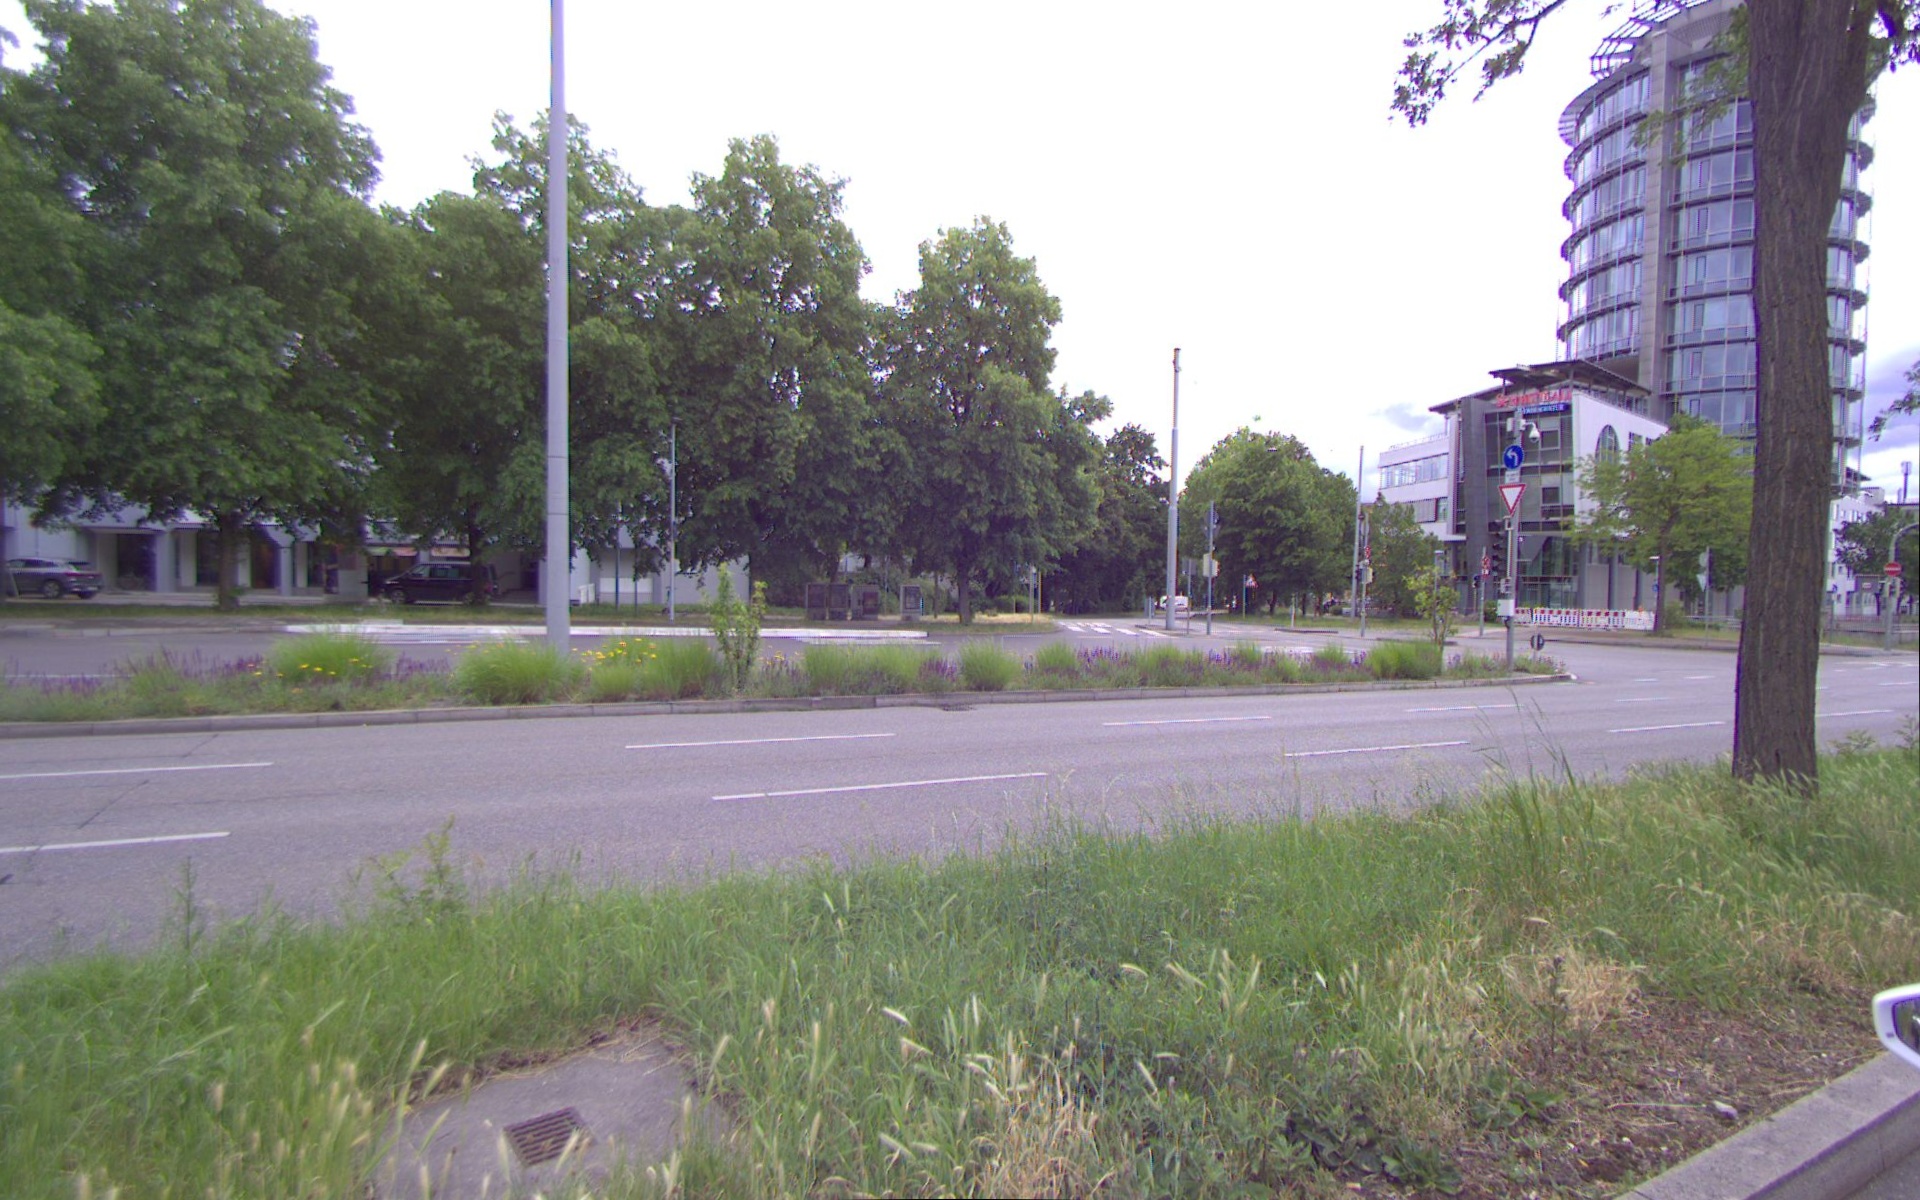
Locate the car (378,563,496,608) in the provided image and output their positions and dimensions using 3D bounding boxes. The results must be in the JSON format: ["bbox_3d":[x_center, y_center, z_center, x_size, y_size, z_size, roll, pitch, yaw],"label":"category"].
[{"bbox_3d":[-23.321,-0.641,44.958,4.345,1.872,1.781,1,1,-16],"label":"car"}]

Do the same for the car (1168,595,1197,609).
[{"bbox_3d":[38.634,0.348,174.341,4.475,2.370,1.994,2,0,-16],"label":"car"}]

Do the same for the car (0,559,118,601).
[{"bbox_3d":[-35.591,-0.792,39.141,3.925,1.532,1.758,1,1,-6],"label":"car"}]

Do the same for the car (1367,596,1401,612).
[{"bbox_3d":[25.038,0.232,59.397,1.684,0.888,0.776,1,0,7],"label":"car"}]

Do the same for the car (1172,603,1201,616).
[{"bbox_3d":[38.577,1.538,170.991,4.475,2.061,1.993,1,1,-16],"label":"car"}]

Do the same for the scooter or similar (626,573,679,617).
[{"bbox_3d":[-11.876,-0.187,38.859,1.835,1.686,0.645,1,1,-43],"label":"scooter or similar"}]

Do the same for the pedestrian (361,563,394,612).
[{"bbox_3d":[-19.011,-0.411,32.810,0.894,1.578,0.766,1,1,-30],"label":"pedestrian"}]
